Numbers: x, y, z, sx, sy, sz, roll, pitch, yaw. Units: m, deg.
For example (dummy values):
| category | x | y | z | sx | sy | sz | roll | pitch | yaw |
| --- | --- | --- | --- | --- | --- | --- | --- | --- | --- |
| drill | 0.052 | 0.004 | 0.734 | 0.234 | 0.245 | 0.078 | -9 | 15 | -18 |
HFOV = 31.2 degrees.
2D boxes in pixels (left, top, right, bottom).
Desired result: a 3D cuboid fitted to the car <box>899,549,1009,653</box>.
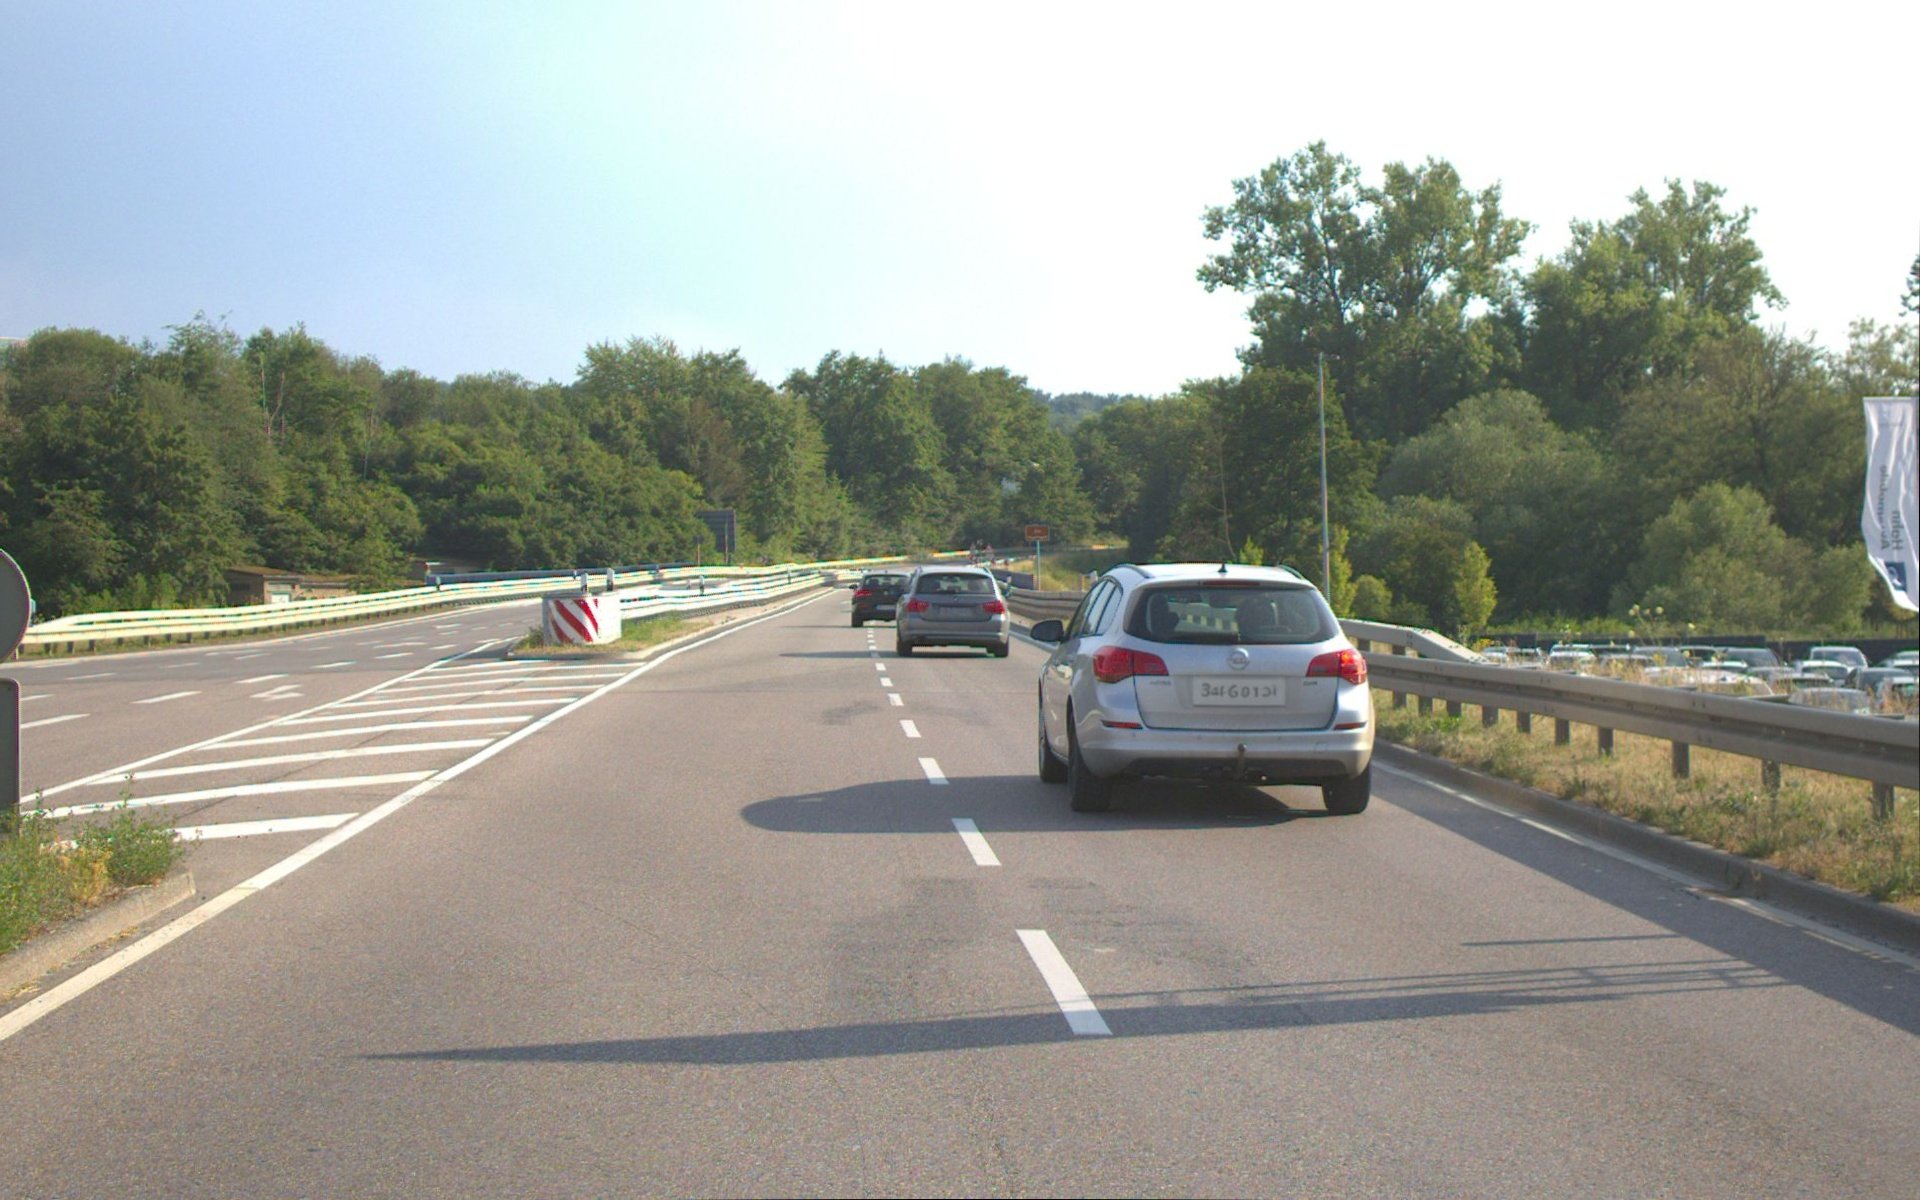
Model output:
| category | x | y | z | sx | sy | sz | roll | pitch | yaw |
| --- | --- | --- | --- | --- | --- | --- | --- | --- | --- |
| car | -0.108 | 0.024 | 54.989 | 1.667 | 1.569 | 4.000 | 1 | 0 | 0 |

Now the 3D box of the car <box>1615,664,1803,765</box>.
| category | x | y | z | sx | sy | sz | roll | pitch | yaw |
| --- | --- | --- | --- | --- | --- | --- | --- | --- | --- |
| car | 13.243 | 1.999 | 61.064 | 1.879 | 1.620 | 4.730 | 1 | 0 | -6 |

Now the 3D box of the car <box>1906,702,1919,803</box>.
| category | x | y | z | sx | sy | sz | roll | pitch | yaw |
| --- | --- | --- | --- | --- | --- | --- | --- | --- | --- |
| car | 19.699 | 3.017 | 67.043 | 1.880 | 1.924 | 4.727 | 1 | 0 | 9 |

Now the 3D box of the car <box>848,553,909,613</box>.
| category | x | y | z | sx | sy | sz | roll | pitch | yaw |
| --- | --- | --- | --- | --- | --- | --- | --- | --- | --- |
| car | -2.076 | -0.420 | 88.015 | 1.492 | 1.471 | 3.359 | 1 | 0 | 0 |

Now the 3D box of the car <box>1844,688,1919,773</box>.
| category | x | y | z | sx | sy | sz | roll | pitch | yaw |
| --- | --- | --- | --- | --- | --- | --- | --- | --- | --- |
| car | 20.204 | 2.759 | 73.166 | 1.880 | 1.630 | 4.729 | 1 | 0 | 4 |

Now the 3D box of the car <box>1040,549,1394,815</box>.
| category | x | y | z | sx | sy | sz | roll | pitch | yaw |
| --- | --- | --- | --- | --- | --- | --- | --- | --- | --- |
| car | 1.503 | 0.474 | 21.454 | 1.809 | 1.481 | 4.000 | 1 | 0 | -1 |
